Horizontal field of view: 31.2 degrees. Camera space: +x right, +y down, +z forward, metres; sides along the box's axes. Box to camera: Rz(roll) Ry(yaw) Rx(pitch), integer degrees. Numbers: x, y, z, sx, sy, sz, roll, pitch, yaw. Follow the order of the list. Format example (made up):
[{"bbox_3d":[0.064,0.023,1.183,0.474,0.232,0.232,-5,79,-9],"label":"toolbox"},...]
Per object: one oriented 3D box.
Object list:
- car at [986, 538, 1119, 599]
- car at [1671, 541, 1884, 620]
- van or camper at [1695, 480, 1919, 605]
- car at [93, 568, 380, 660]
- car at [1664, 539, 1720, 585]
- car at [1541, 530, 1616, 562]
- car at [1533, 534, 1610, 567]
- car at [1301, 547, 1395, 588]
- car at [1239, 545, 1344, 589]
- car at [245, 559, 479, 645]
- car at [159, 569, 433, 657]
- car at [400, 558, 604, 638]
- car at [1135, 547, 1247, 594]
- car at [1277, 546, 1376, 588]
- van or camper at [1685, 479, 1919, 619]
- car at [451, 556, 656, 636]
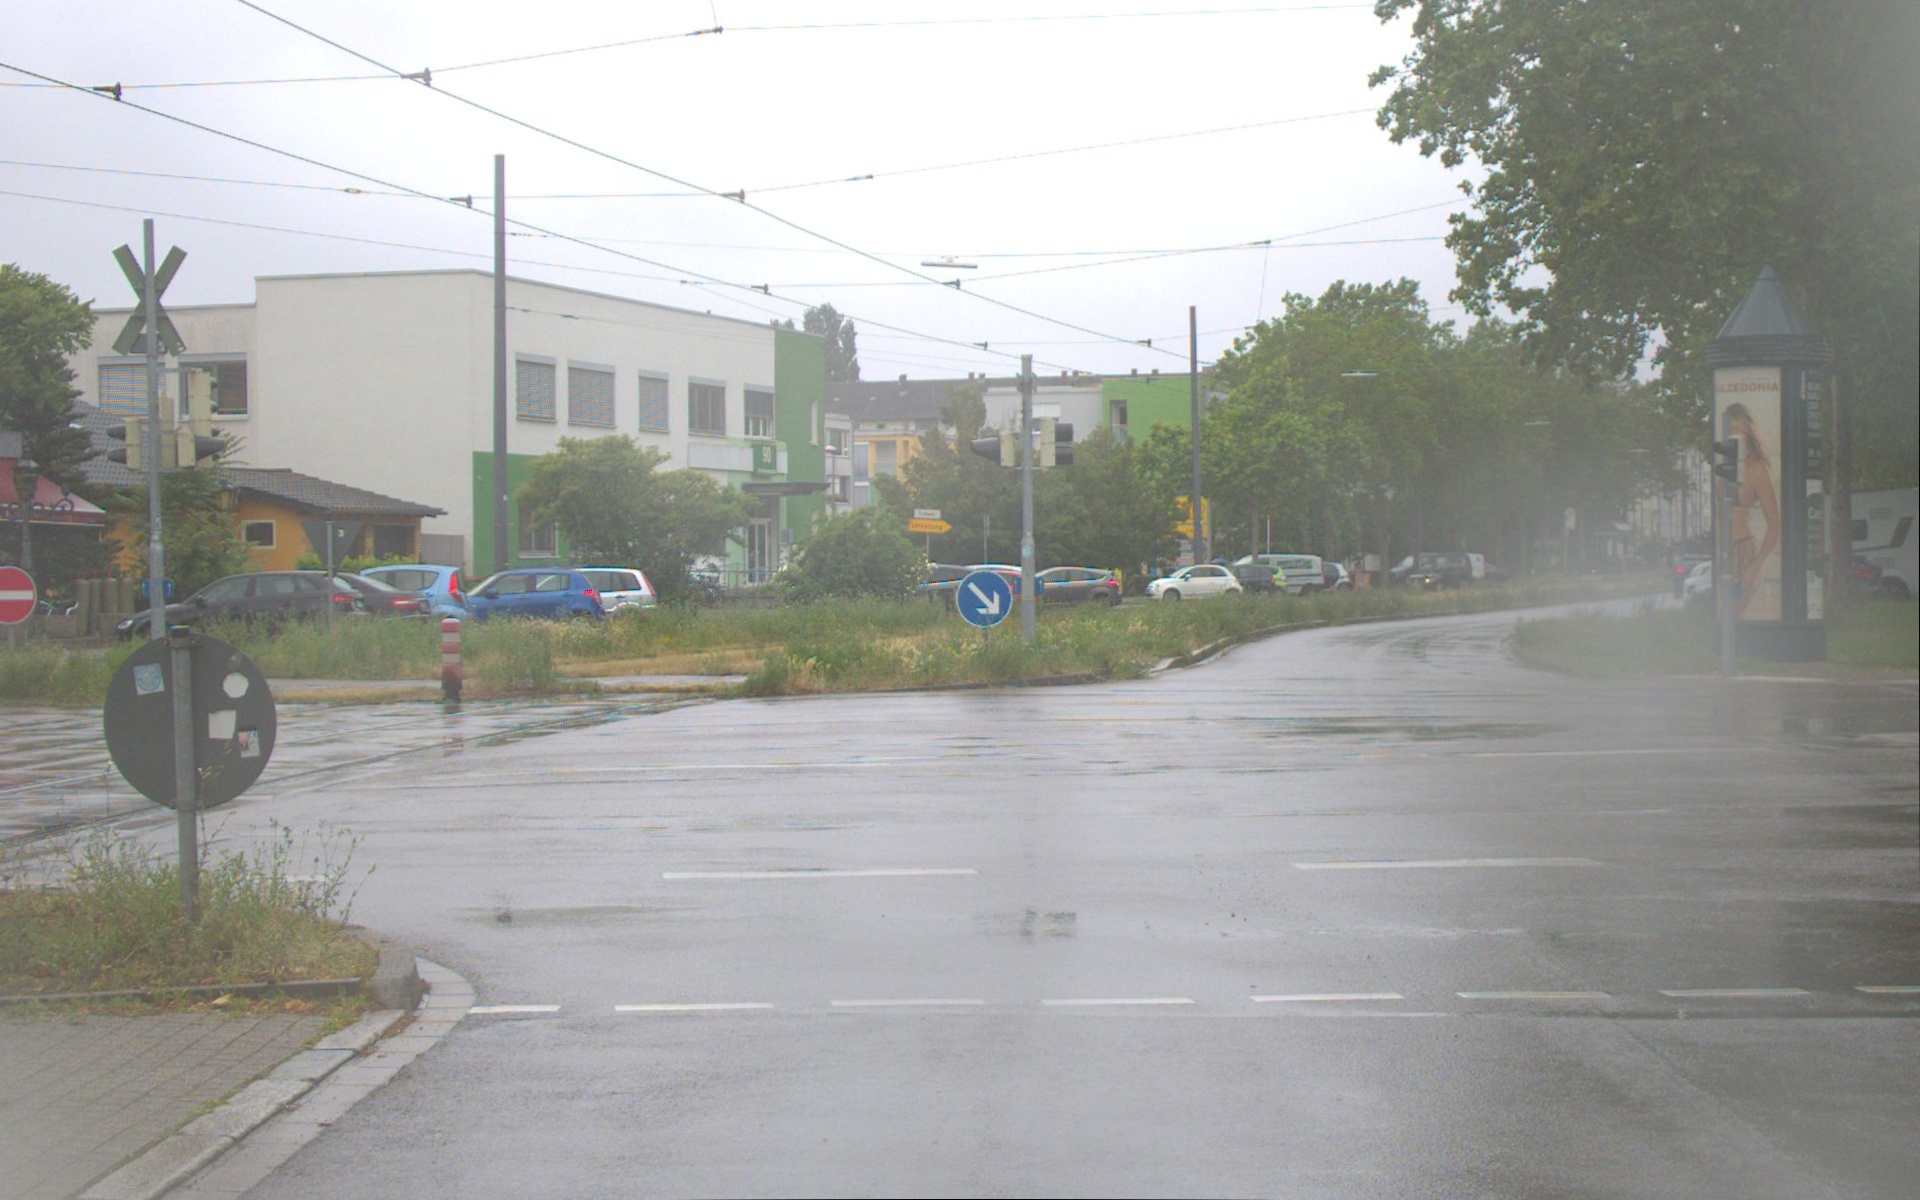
[{"bbox_3d":[2.950,-1.020,110.228,3.986,1.881,2.000,1,0,-7],"label":"car"},{"bbox_3d":[18.460,-0.448,77.620,4.449,1.711,1.998,1,1,21],"label":"car"},{"bbox_3d":[23.222,-1.484,89.659,7.434,3.167,3.259,1,1,22],"label":"van or camper"},{"bbox_3d":[-12.381,0.227,59.010,4.477,1.413,1.858,-2,0,1],"label":"car"},{"bbox_3d":[27.381,-1.410,128.520,1.807,1.680,3.908,1,1,16],"label":"car"},{"bbox_3d":[36.583,-3.172,203.433,3.986,1.826,2.000,1,0,-5],"label":"car"},{"bbox_3d":[35.334,-2.877,198.701,3.986,1.826,2.000,1,0,-5],"label":"car"},{"bbox_3d":[17.910,-1.515,158.935,3.986,1.826,2.000,1,0,-5],"label":"car"},{"bbox_3d":[13.962,-1.392,144.845,3.986,1.752,2.011,1,0,-11],"label":"car"},{"bbox_3d":[-11.245,0.025,64.806,3.987,1.576,1.858,0,0,4],"label":"car"},{"bbox_3d":[-11.827,0.226,61.418,4.497,1.413,1.858,-2,0,1],"label":"car"},{"bbox_3d":[-9.317,-0.049,69.783,3.986,1.576,1.930,0,0,-11],"label":"car"},{"bbox_3d":[8.521,-1.086,126.787,3.773,1.697,1.837,1,0,-10],"label":"car"},{"bbox_3d":[16.389,-1.485,153.865,3.986,1.826,2.001,1,0,-11],"label":"car"},{"bbox_3d":[20.905,-1.183,80.543,7.328,3.167,3.259,1,1,18],"label":"van or camper"},{"bbox_3d":[-8.638,-0.095,72.934,4.107,1.635,1.930,-1,0,-14],"label":"car"}]
